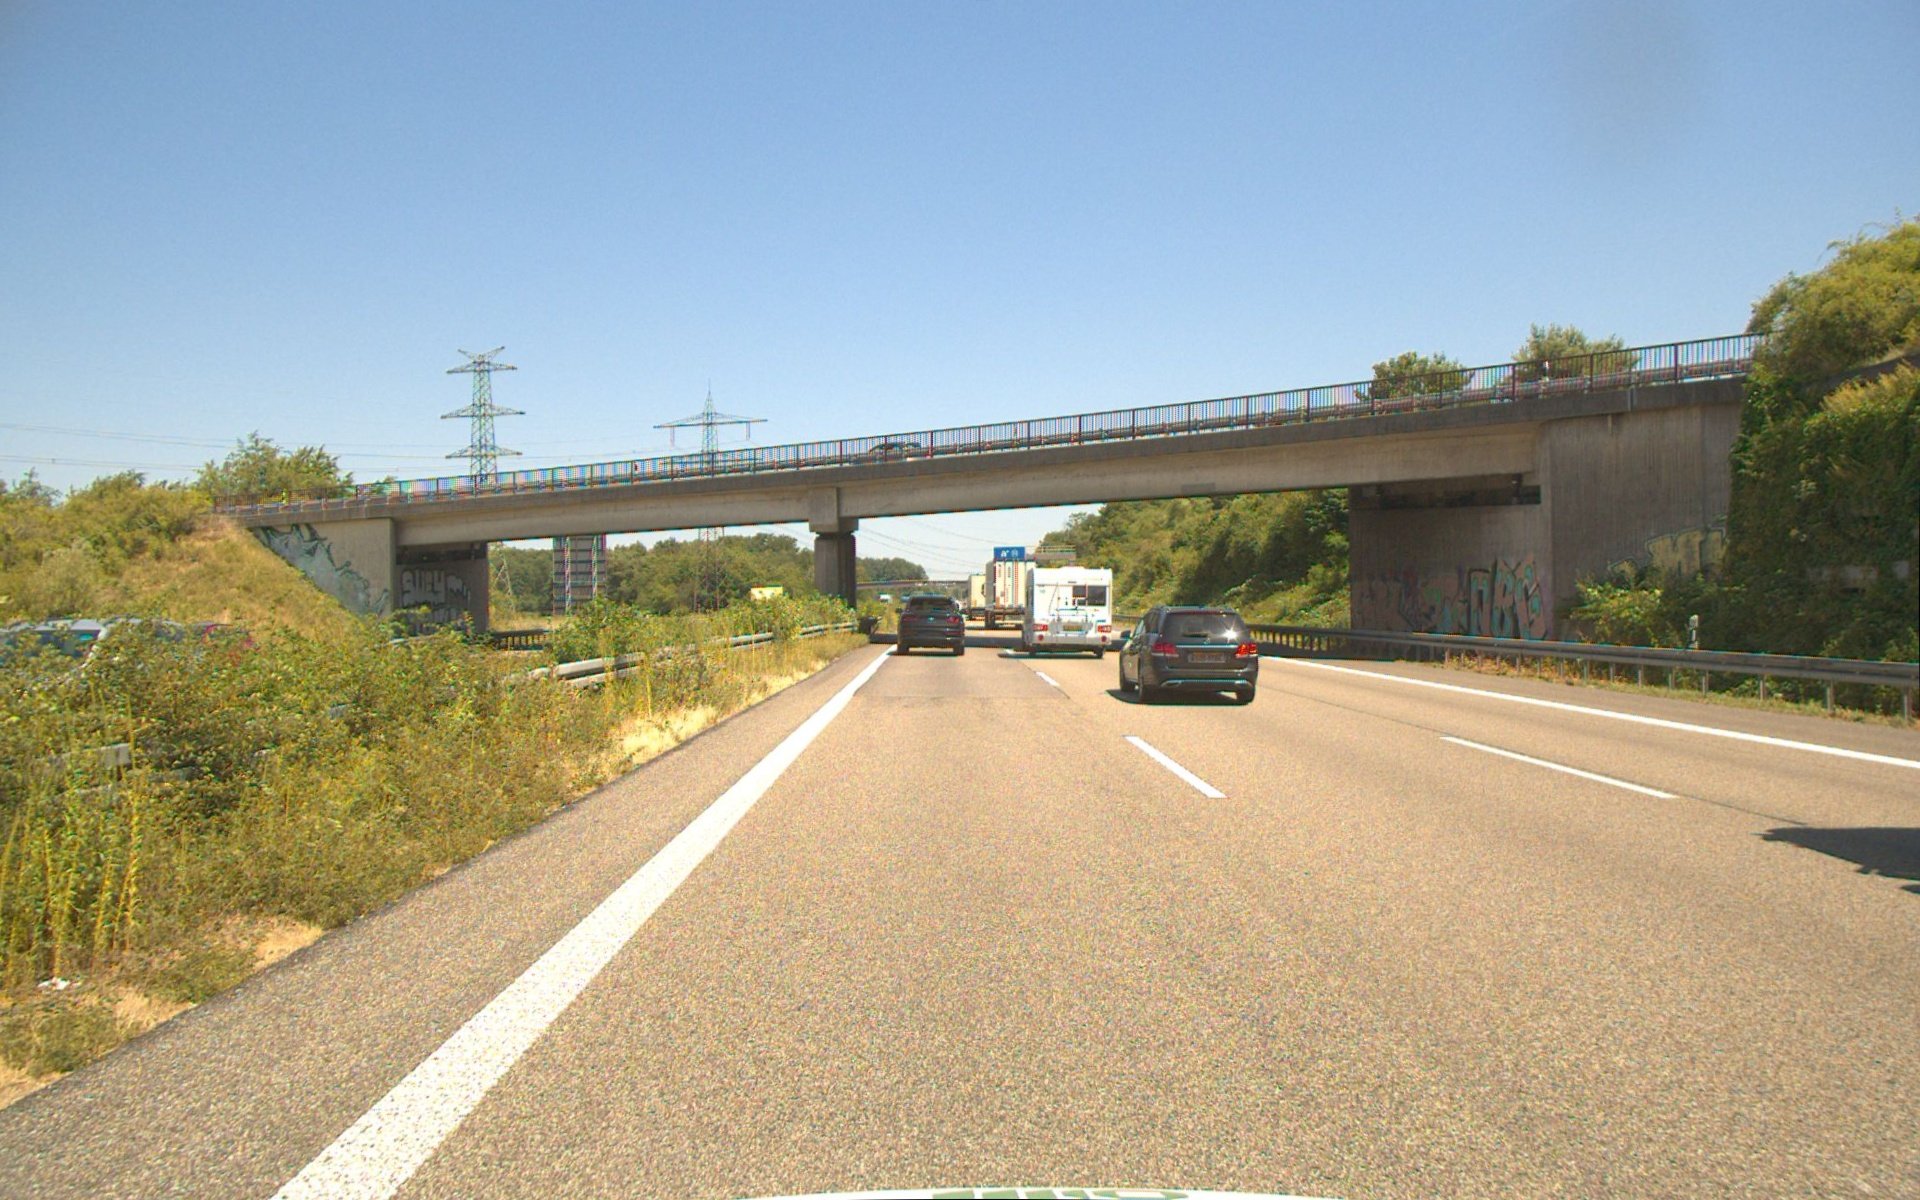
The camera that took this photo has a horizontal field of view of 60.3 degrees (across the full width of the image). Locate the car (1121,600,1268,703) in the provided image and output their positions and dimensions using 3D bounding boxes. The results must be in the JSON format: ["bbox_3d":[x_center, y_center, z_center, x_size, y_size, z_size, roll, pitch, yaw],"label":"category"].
[{"bbox_3d":[3.751,0.770,27.201,1.803,1.532,4.738,0,0,1],"label":"car"}]

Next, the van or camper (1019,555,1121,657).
[{"bbox_3d":[3.104,0.162,48.190,2.390,2.721,6.348,-1,0,-1],"label":"van or camper"}]

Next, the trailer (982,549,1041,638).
[{"bbox_3d":[3.007,-0.325,100.053,3.024,4.970,12.256,1,-1,0],"label":"trailer"}]

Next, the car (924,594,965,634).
[{"bbox_3d":[-0.776,0.644,79.334,1.922,1.846,4.448,-1,0,-1],"label":"car"}]

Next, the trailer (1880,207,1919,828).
[{"bbox_3d":[7.849,-0.566,8.211,2.658,4.174,6.787,0,0,-1],"label":"trailer"}]

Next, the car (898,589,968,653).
[{"bbox_3d":[-0.806,0.590,48.924,1.953,1.803,3.999,-1,0,-1],"label":"car"}]

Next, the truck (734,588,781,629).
[{"bbox_3d":[-19.705,0.829,161.489,3.440,3.930,8.660,0,0,0],"label":"truck"}]

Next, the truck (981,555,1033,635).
[{"bbox_3d":[2.987,-0.269,106.736,3.024,4.970,6.597,1,-1,0],"label":"truck"}]

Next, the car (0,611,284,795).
[{"bbox_3d":[-9.423,1.039,18.597,1.879,1.811,4.411,0,-1,-1],"label":"car"}]

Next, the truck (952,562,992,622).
[{"bbox_3d":[1.028,-0.729,150.539,3.440,5.257,10.257,0,0,0],"label":"truck"}]
